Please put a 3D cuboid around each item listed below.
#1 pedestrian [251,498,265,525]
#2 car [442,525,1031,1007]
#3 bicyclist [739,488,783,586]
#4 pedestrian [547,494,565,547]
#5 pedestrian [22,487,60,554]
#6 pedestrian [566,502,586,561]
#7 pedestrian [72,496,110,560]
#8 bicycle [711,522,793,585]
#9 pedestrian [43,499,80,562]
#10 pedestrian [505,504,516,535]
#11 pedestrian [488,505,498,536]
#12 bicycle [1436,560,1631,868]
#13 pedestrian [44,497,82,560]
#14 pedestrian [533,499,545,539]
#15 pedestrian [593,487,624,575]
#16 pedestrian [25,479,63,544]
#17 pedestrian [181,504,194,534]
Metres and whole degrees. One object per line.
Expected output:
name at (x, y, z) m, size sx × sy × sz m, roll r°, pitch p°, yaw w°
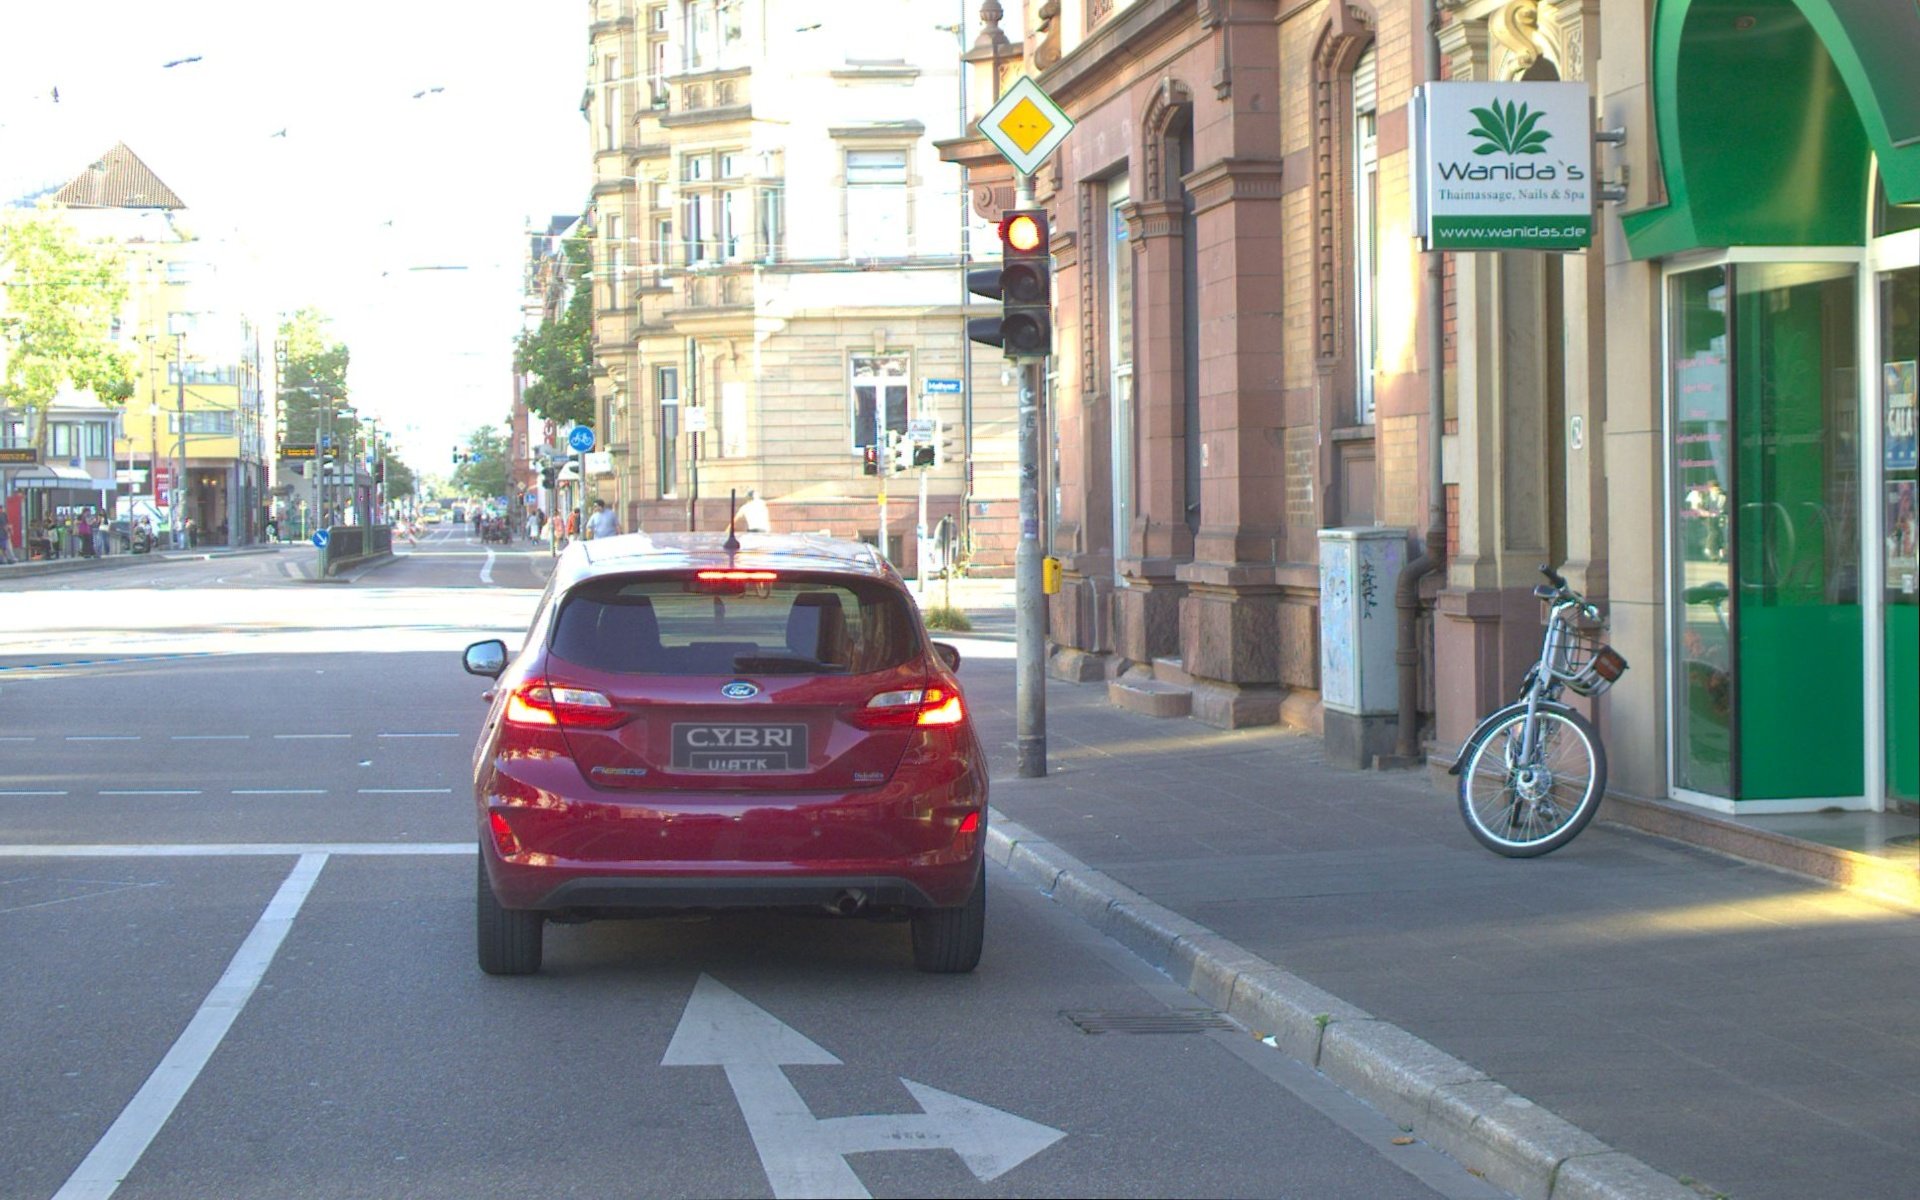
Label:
pedestrian at (-41.026, -5.170, 200.959) m, size 0.628 × 1.598 × 0.579 m, roll -1°, pitch 2°, yaw -24°
car at (-0.975, 0.473, 12.593) m, size 1.753 × 1.461 × 3.946 m, roll 0°, pitch 1°, yaw -9°
bicyclist at (-3.440, -1.090, 59.535) m, size 0.545 × 1.670 × 0.500 m, roll 0°, pitch 2°, yaw 43°
pedestrian at (-15.455, -3.045, 131.562) m, size 0.577 × 2.007 × 0.631 m, roll -1°, pitch 1°, yaw -1°
pedestrian at (-28.193, -2.440, 105.454) m, size 0.956 × 2.006 × 1.049 m, roll -1°, pitch 1°, yaw -7°
pedestrian at (-13.198, -2.351, 118.253) m, size 0.646 × 2.007 × 0.683 m, roll -1°, pitch 1°, yaw -8°
pedestrian at (-27.304, -2.267, 107.982) m, size 1.045 × 2.007 × 0.959 m, roll -1°, pitch 1°, yaw -10°
bicycle at (-3.617, -0.810, 59.710) m, size 1.485 × 1.085 × 0.526 m, roll 1°, pitch 2°, yaw 43°
pedestrian at (-29.183, -2.268, 111.707) m, size 1.045 × 2.007 × 0.959 m, roll -1°, pitch 1°, yaw -10°
pedestrian at (-26.886, -4.818, 205.683) m, size 0.577 × 1.880 × 0.631 m, roll -1°, pitch 1°, yaw -7°
pedestrian at (-28.483, -4.849, 209.619) m, size 0.577 × 1.880 × 0.670 m, roll -1°, pitch 1°, yaw -7°
bicycle at (2.410, 0.443, 14.348) m, size 0.716 × 1.148 × 1.654 m, roll -2°, pitch 2°, yaw 11°
pedestrian at (-28.642, -2.286, 109.775) m, size 1.045 × 2.007 × 0.959 m, roll -1°, pitch 1°, yaw -10°
pedestrian at (-21.387, -4.125, 174.462) m, size 0.577 × 2.007 × 0.631 m, roll -1°, pitch 1°, yaw -7°
pedestrian at (-8.072, -1.589, 78.993) m, size 0.651 × 2.007 × 0.760 m, roll -1°, pitch 1°, yaw -8°
pedestrian at (-28.736, -2.776, 107.834) m, size 1.045 × 2.007 × 0.959 m, roll -1°, pitch 1°, yaw -10°
pedestrian at (-38.907, -4.077, 173.109) m, size 0.524 × 1.483 × 0.583 m, roll -1°, pitch 1°, yaw -5°
